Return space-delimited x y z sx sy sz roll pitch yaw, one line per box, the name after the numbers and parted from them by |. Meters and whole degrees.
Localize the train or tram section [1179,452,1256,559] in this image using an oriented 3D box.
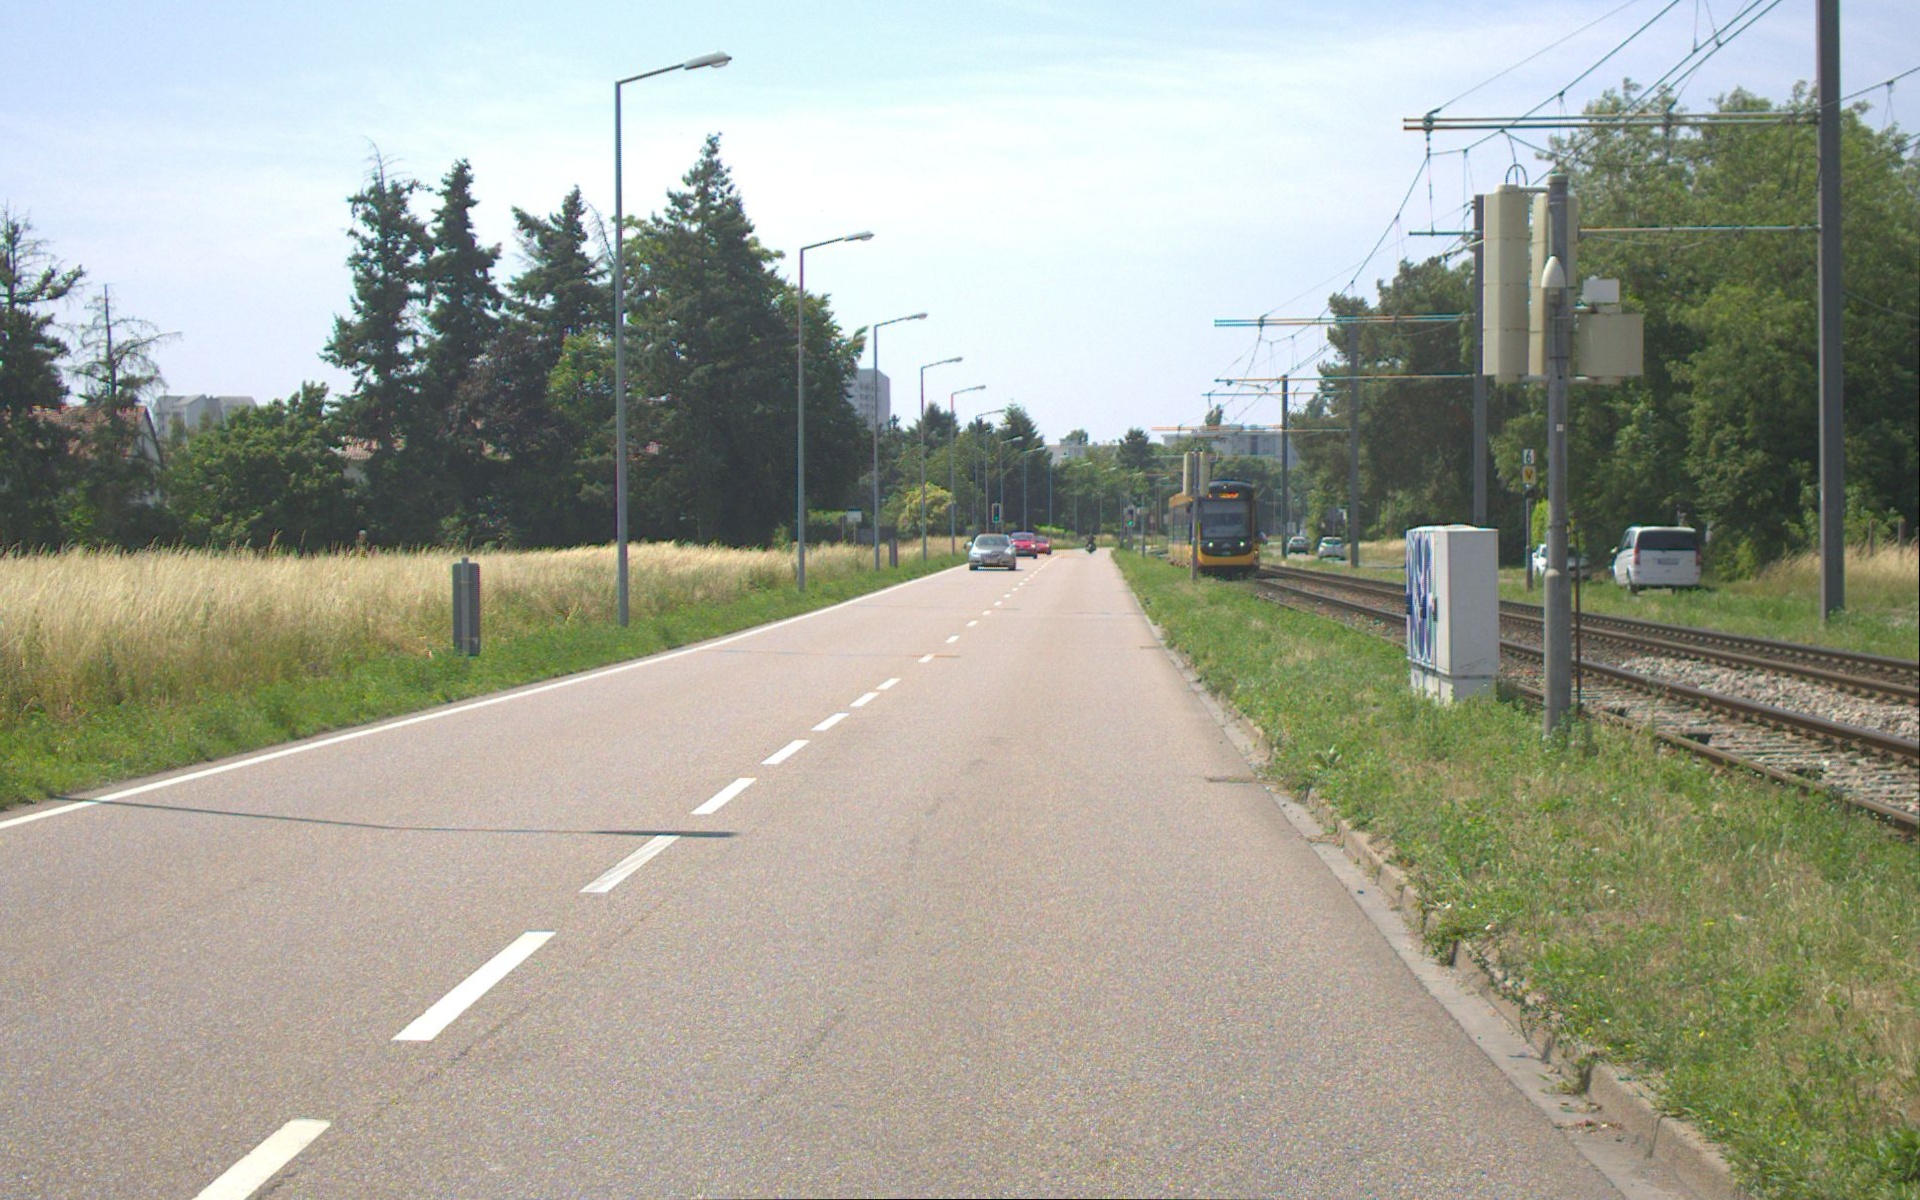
9.700 -3.486 130.358 2.429 3.753 11.558 0 0 2 | train or tram section

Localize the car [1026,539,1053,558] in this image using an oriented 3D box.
5.578 -3.612 241.692 1.807 1.281 4.286 0 0 2 | car

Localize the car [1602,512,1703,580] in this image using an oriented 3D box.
19.090 -1.476 94.925 1.993 1.796 4.794 0 0 2 | car

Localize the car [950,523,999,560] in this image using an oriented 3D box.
0.610 -2.391 141.492 1.834 1.462 4.678 0 0 2 | car

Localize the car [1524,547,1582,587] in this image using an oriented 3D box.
19.646 -1.078 114.016 1.428 1.303 3.465 0 0 2 | car
